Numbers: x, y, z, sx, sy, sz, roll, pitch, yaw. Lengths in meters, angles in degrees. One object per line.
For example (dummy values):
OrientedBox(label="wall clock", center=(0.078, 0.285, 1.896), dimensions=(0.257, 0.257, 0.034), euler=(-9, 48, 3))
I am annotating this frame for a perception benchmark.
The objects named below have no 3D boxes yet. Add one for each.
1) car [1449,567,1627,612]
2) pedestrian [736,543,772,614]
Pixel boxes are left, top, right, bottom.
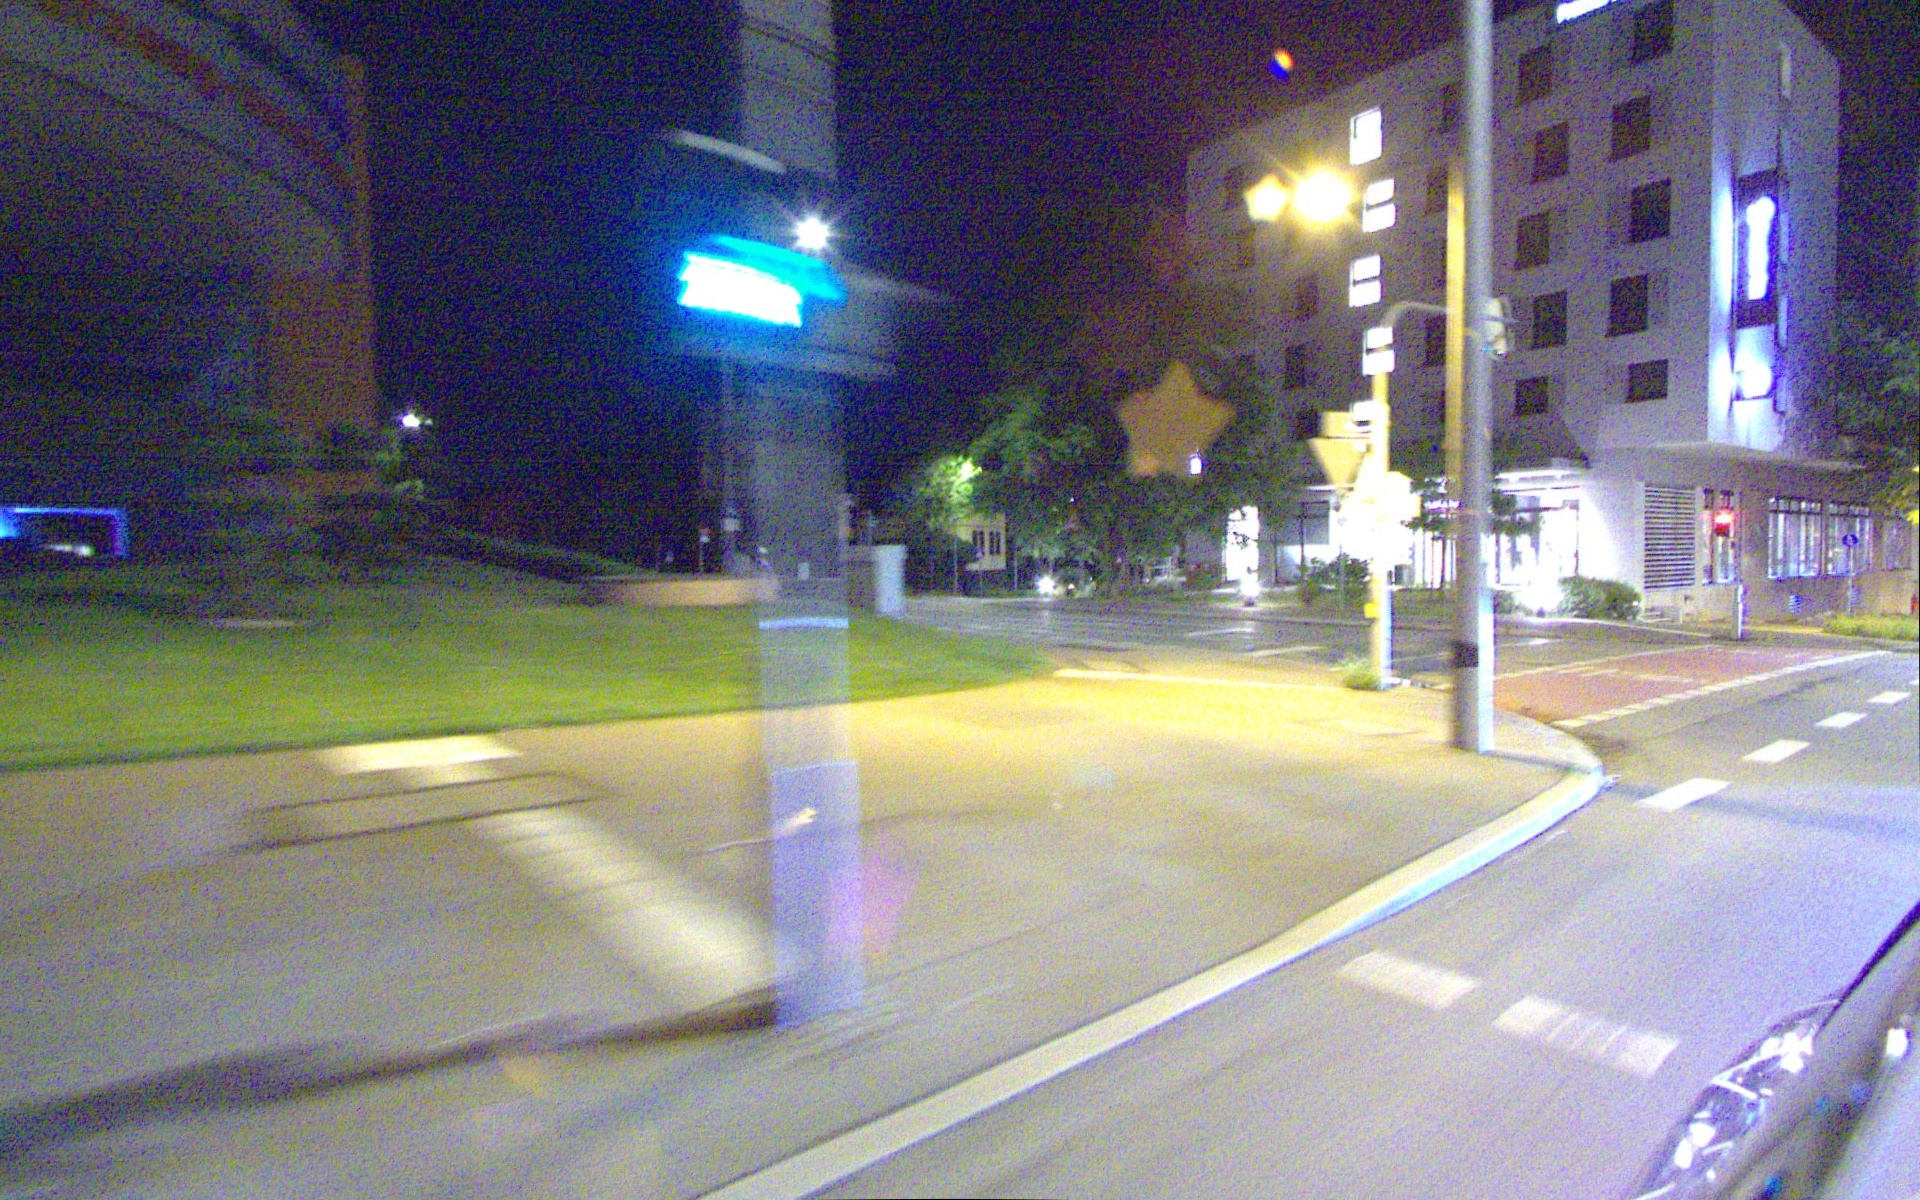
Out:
OrientedBox(label="car", center=(15.820, -0.310, 27.883), dimensions=(3.936, 1.047, 1.480), euler=(2, 1, 10))
OrientedBox(label="pedestrian", center=(-5.532, -0.576, 27.219), dimensions=(0.719, 1.900, 0.663), euler=(0, 0, -42))
